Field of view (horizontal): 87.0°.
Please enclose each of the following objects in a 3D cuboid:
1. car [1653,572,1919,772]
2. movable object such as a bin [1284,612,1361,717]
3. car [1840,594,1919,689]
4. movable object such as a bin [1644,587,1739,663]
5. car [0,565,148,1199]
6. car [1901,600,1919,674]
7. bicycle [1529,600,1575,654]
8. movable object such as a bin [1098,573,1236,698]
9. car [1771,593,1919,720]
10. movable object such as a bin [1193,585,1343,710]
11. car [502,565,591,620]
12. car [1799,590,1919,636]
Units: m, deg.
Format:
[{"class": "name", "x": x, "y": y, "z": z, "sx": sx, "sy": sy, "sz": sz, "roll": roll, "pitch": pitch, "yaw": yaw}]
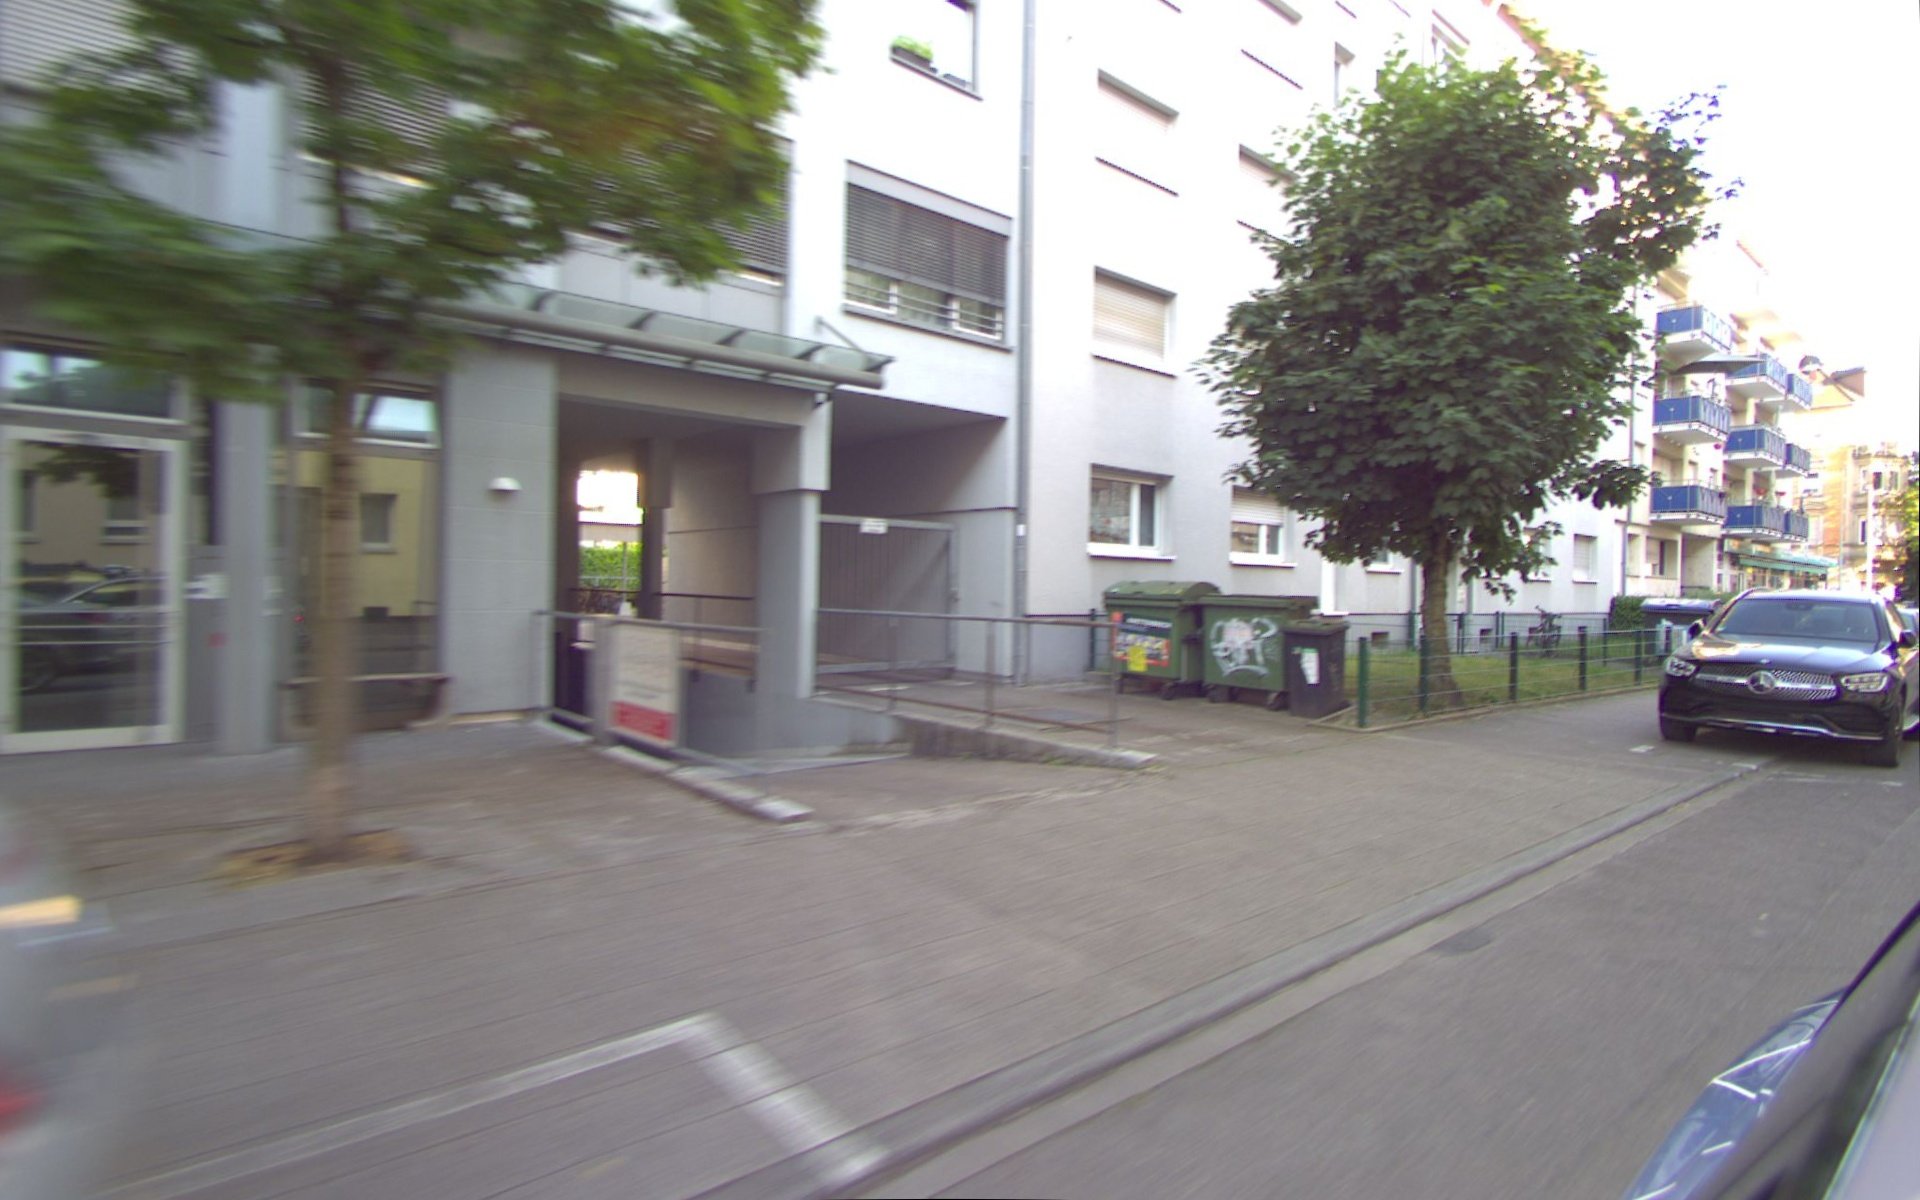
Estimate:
[{"class": "car", "x": 9.233, "y": 0.595, "z": 10.901, "sx": 4.642, "sy": 1.655, "sz": 1.874, "roll": 0, "pitch": 3, "yaw": -42}, {"class": "movable object such as a bin", "x": 3.966, "y": 0.686, "z": 11.065, "sx": 0.614, "sy": 1.084, "sz": 0.529, "roll": 0, "pitch": 2, "yaw": -41}, {"class": "car", "x": 17.003, "y": 0.697, "z": 17.763, "sx": 3.585, "sy": 1.501, "sz": 1.681, "roll": 0, "pitch": 2, "yaw": -38}, {"class": "movable object such as a bin", "x": 14.906, "y": 0.484, "z": 20.620, "sx": 1.202, "sy": 1.454, "sz": 1.287, "roll": 0, "pitch": 2, "yaw": -41}, {"class": "car", "x": -3.002, "y": 0.690, "z": 0.294, "sx": 4.268, "sy": 1.446, "sz": 1.767, "roll": 0, "pitch": 3, "yaw": -41}, {"class": "car", "x": 20.804, "y": 0.763, "z": 20.782, "sx": 4.063, "sy": 1.437, "sz": 1.680, "roll": 0, "pitch": 3, "yaw": -41}, {"class": "bicycle", "x": 13.107, "y": 0.579, "z": 22.404, "sx": 0.599, "sy": 1.104, "sz": 1.716, "roll": 3, "pitch": 2, "yaw": 39}, {"class": "movable object such as a bin", "x": 2.618, "y": 0.413, "z": 12.818, "sx": 1.119, "sy": 1.454, "sz": 1.264, "roll": 0, "pitch": 2, "yaw": -41}, {"class": "car", "x": 12.787, "y": 0.694, "z": 14.083, "sx": 3.588, "sy": 1.501, "sz": 1.680, "roll": 0, "pitch": 2, "yaw": -41}, {"class": "movable object such as a bin", "x": 3.639, "y": 0.519, "z": 11.978, "sx": 1.119, "sy": 1.337, "sz": 1.264, "roll": 0, "pitch": 2, "yaw": -40}, {"class": "car", "x": -14.768, "y": -0.302, "z": 36.025, "sx": 1.963, "sy": 1.704, "sz": 4.000, "roll": 0, "pitch": 3, "yaw": -37}, {"class": "car", "x": 35.480, "y": 0.472, "z": 39.439, "sx": 1.966, "sy": 1.584, "sz": 3.994, "roll": 0, "pitch": 3, "yaw": -42}]
